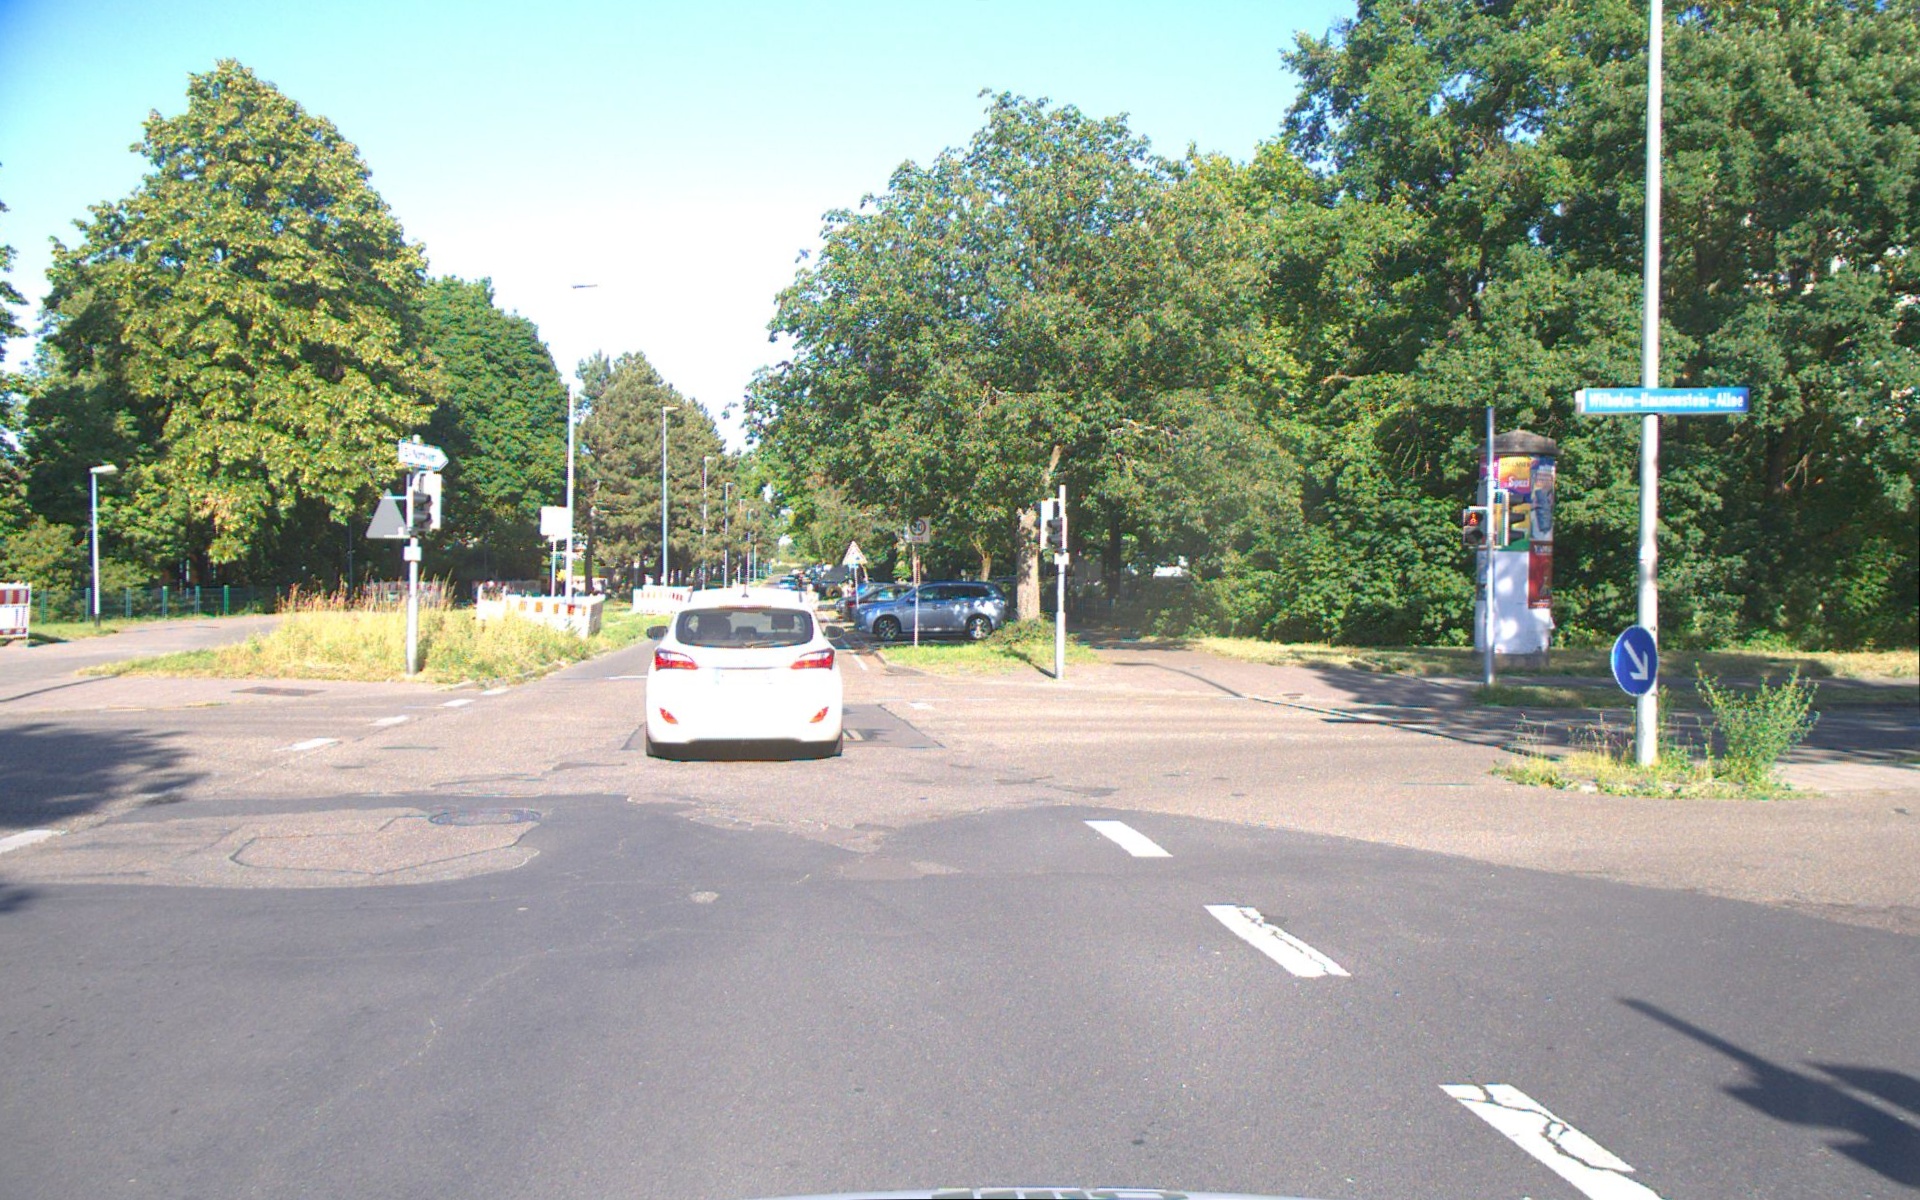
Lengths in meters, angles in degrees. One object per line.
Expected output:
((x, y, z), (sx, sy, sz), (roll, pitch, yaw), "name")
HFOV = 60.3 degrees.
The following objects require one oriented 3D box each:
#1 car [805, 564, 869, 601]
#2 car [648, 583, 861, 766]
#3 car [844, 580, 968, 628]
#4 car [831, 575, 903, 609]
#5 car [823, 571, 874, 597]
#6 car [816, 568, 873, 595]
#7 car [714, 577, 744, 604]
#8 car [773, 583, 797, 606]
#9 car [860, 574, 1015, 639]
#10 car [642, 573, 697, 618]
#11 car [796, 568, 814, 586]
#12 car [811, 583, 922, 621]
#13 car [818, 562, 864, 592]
((-7.441, -1.046, 99.594), (3.745, 2.135, 1.861), (2, 0, -6), "car")
((-2.015, 0.617, 15.890), (1.756, 1.488, 3.956), (1, 1, -9), "car")
((-1.980, 0.136, 60.181), (4.409, 1.658, 1.854), (1, 0, -4), "car")
((-5.060, -0.449, 89.763), (3.745, 1.713, 1.861), (2, 0, -6), "car")
((-8.339, -1.203, 123.774), (3.745, 1.798, 1.861), (2, 0, -6), "car")
((-8.862, -1.391, 126.881), (4.219, 1.941, 1.861), (2, 0, -6), "car")
((-16.591, -0.702, 118.972), (1.955, 1.847, 3.995), (2, 0, -5), "car")
((-15.286, -0.509, 144.707), (1.955, 1.847, 3.996), (3, 0, -5), "car")
((-0.690, 0.189, 48.050), (4.409, 1.814, 1.854), (1, 0, -4), "car")
((-12.413, -0.185, 70.933), (1.955, 1.847, 3.995), (-1, -1, -5), "car")
((-17.076, -2.533, 182.521), (1.955, 1.847, 3.995), (2, 0, -5), "car")
((-4.751, 0.095, 83.724), (5.505, 1.713, 1.946), (2, 0, -6), "car")
((-9.921, -1.916, 138.253), (3.745, 2.339, 1.861), (2, 0, -6), "car")
